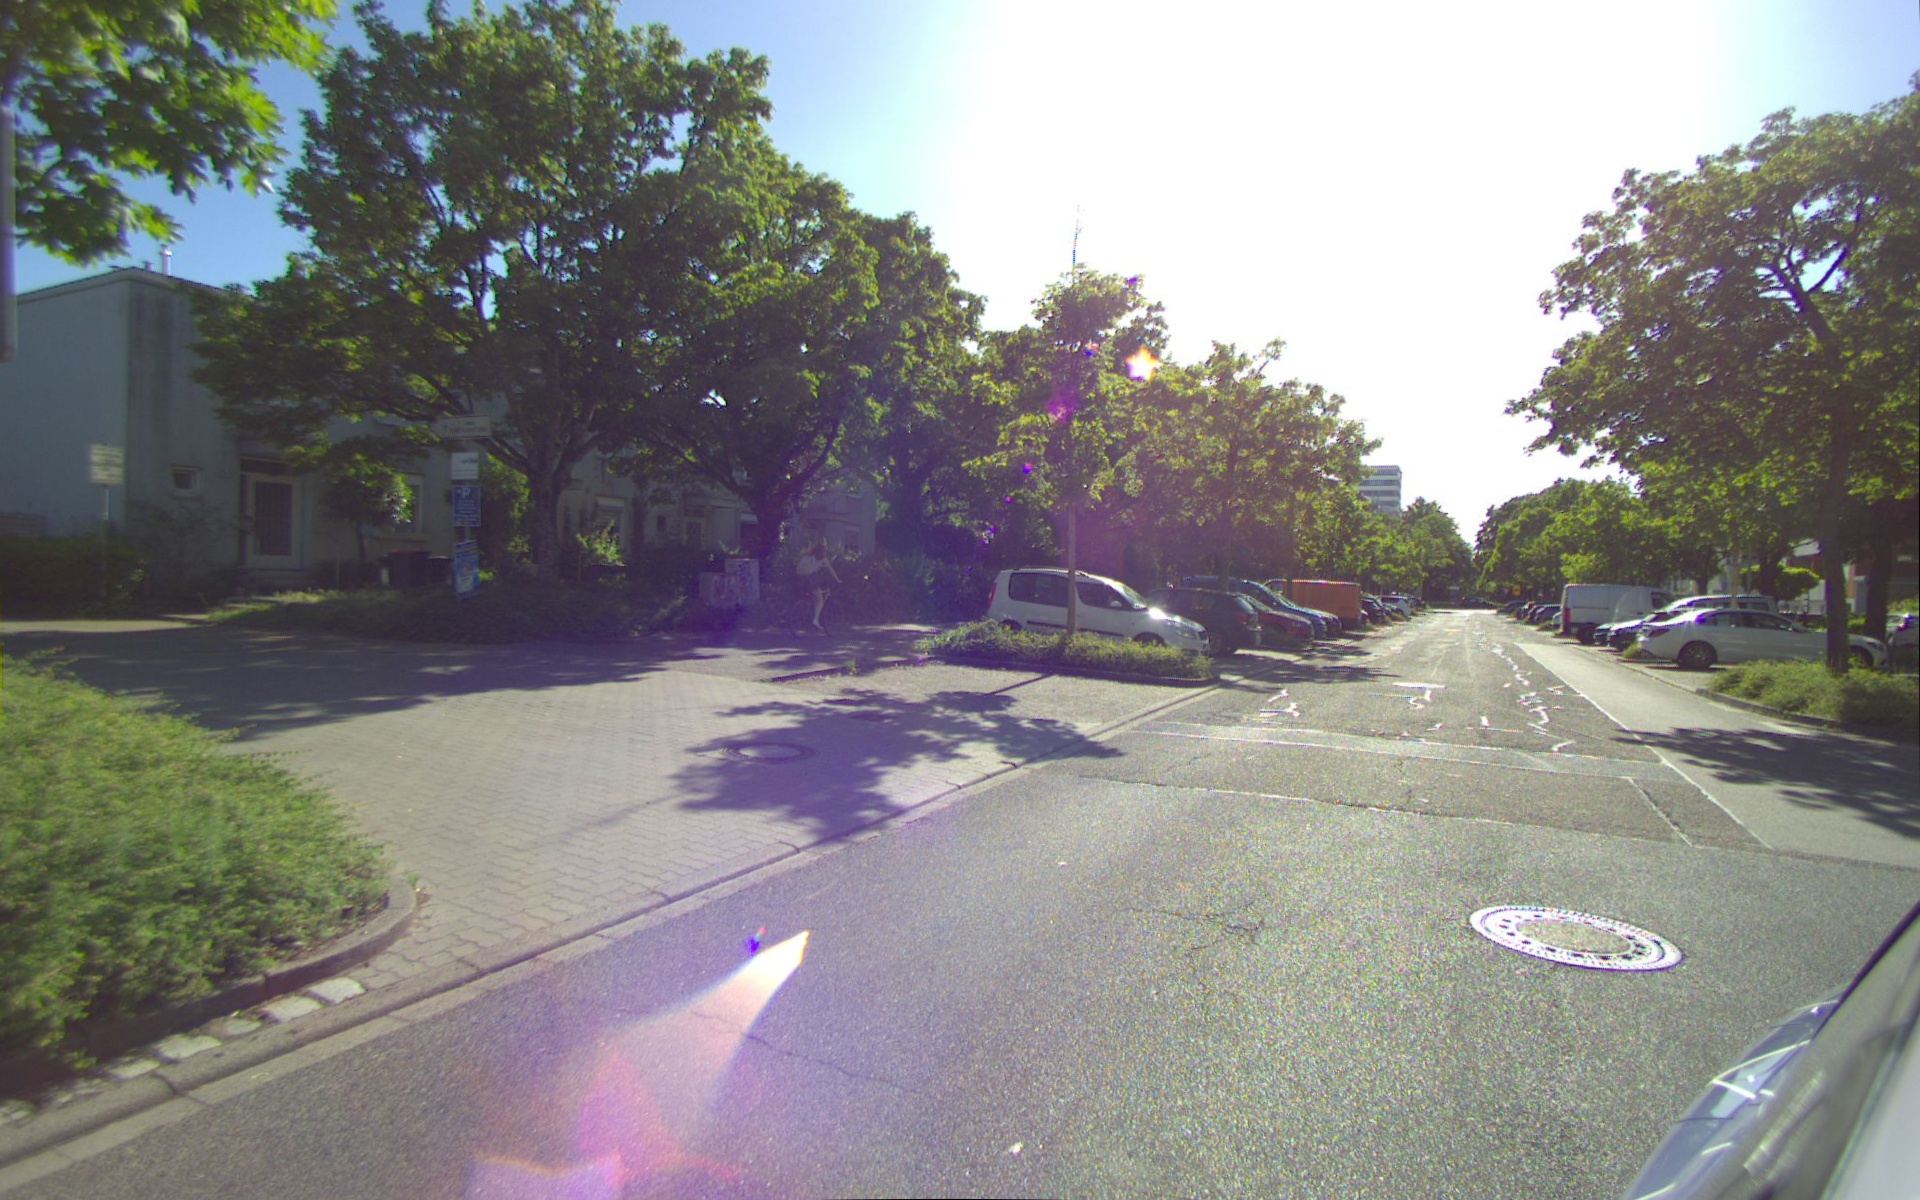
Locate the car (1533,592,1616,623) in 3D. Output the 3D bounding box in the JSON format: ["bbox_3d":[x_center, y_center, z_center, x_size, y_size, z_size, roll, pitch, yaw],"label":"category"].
[{"bbox_3d":[41.350,0.484,68.247,4.523,1.853,1.981,3,1,27],"label":"car"}]

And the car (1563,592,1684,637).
[{"bbox_3d":[31.428,0.662,48.134,4.523,1.853,1.981,3,1,27],"label":"car"}]

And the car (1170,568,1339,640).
[{"bbox_3d":[8.897,0.068,30.629,4.620,1.794,1.813,4,3,26],"label":"car"}]

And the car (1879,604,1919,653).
[{"bbox_3d":[35.429,1.069,37.016,1.822,1.633,4.098,4,3,31],"label":"car"}]

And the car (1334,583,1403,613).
[{"bbox_3d":[27.936,-0.141,69.189,4.219,1.736,1.956,4,3,26],"label":"car"}]

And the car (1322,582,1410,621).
[{"bbox_3d":[21.874,0.062,54.502,4.219,1.774,1.956,4,3,26],"label":"car"}]

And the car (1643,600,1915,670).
[{"bbox_3d":[18.846,0.749,23.613,4.647,1.424,1.810,1,0,29],"label":"car"}]

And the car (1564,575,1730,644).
[{"bbox_3d":[26.834,0.331,39.783,5.087,2.408,1.981,3,1,27],"label":"car"}]

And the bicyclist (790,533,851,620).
[{"bbox_3d":[-2.551,-0.417,18.562,0.590,1.542,1.005,3,0,27],"label":"bicyclist"}]

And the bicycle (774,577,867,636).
[{"bbox_3d":[-2.535,0.104,18.637,0.590,1.008,2.069,3,1,27],"label":"bicycle"}]

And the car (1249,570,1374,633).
[{"bbox_3d":[13.434,0.009,38.690,4.219,2.056,1.956,4,2,26],"label":"car"}]

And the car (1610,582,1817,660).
[{"bbox_3d":[22.378,0.576,30.328,4.592,2.016,1.981,3,1,27],"label":"car"}]

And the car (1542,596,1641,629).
[{"bbox_3d":[35.708,0.693,57.389,4.523,1.620,1.981,3,1,27],"label":"car"}]

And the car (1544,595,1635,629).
[{"bbox_3d":[39.132,0.716,63.042,4.523,1.853,1.981,3,1,27],"label":"car"}]

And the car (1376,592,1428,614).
[{"bbox_3d":[40.558,0.257,92.821,4.219,1.736,1.956,4,3,26],"label":"car"}]

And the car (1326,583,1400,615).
[{"bbox_3d":[25.953,-0.078,65.102,4.219,1.736,1.956,4,3,26],"label":"car"}]

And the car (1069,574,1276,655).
[{"bbox_3d":[4.679,0.256,22.345,4.128,1.423,1.813,4,3,26],"label":"car"}]

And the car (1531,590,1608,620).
[{"bbox_3d":[43.368,0.339,72.124,4.523,1.853,1.981,3,1,27],"label":"car"}]

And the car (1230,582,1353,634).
[{"bbox_3d":[11.359,0.237,34.723,3.751,1.492,1.753,4,3,26],"label":"car"}]

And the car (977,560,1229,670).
[{"bbox_3d":[2.576,0.191,18.322,4.128,1.617,1.813,4,2,26],"label":"car"}]

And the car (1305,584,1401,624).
[{"bbox_3d":[19.458,0.159,50.100,4.219,1.633,1.956,4,3,26],"label":"car"}]

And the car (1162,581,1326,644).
[{"bbox_3d":[7.984,0.294,28.462,4.128,1.423,1.813,4,3,26],"label":"car"}]

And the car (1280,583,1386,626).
[{"bbox_3d":[16.721,0.164,45.338,4.219,1.590,1.956,4,3,26],"label":"car"}]

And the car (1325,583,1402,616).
[{"bbox_3d":[24.964,-0.082,62.565,4.219,1.736,1.956,4,3,26],"label":"car"}]

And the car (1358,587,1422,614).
[{"bbox_3d":[32.039,0.014,75.338,4.219,1.736,1.956,4,3,26],"label":"car"}]
